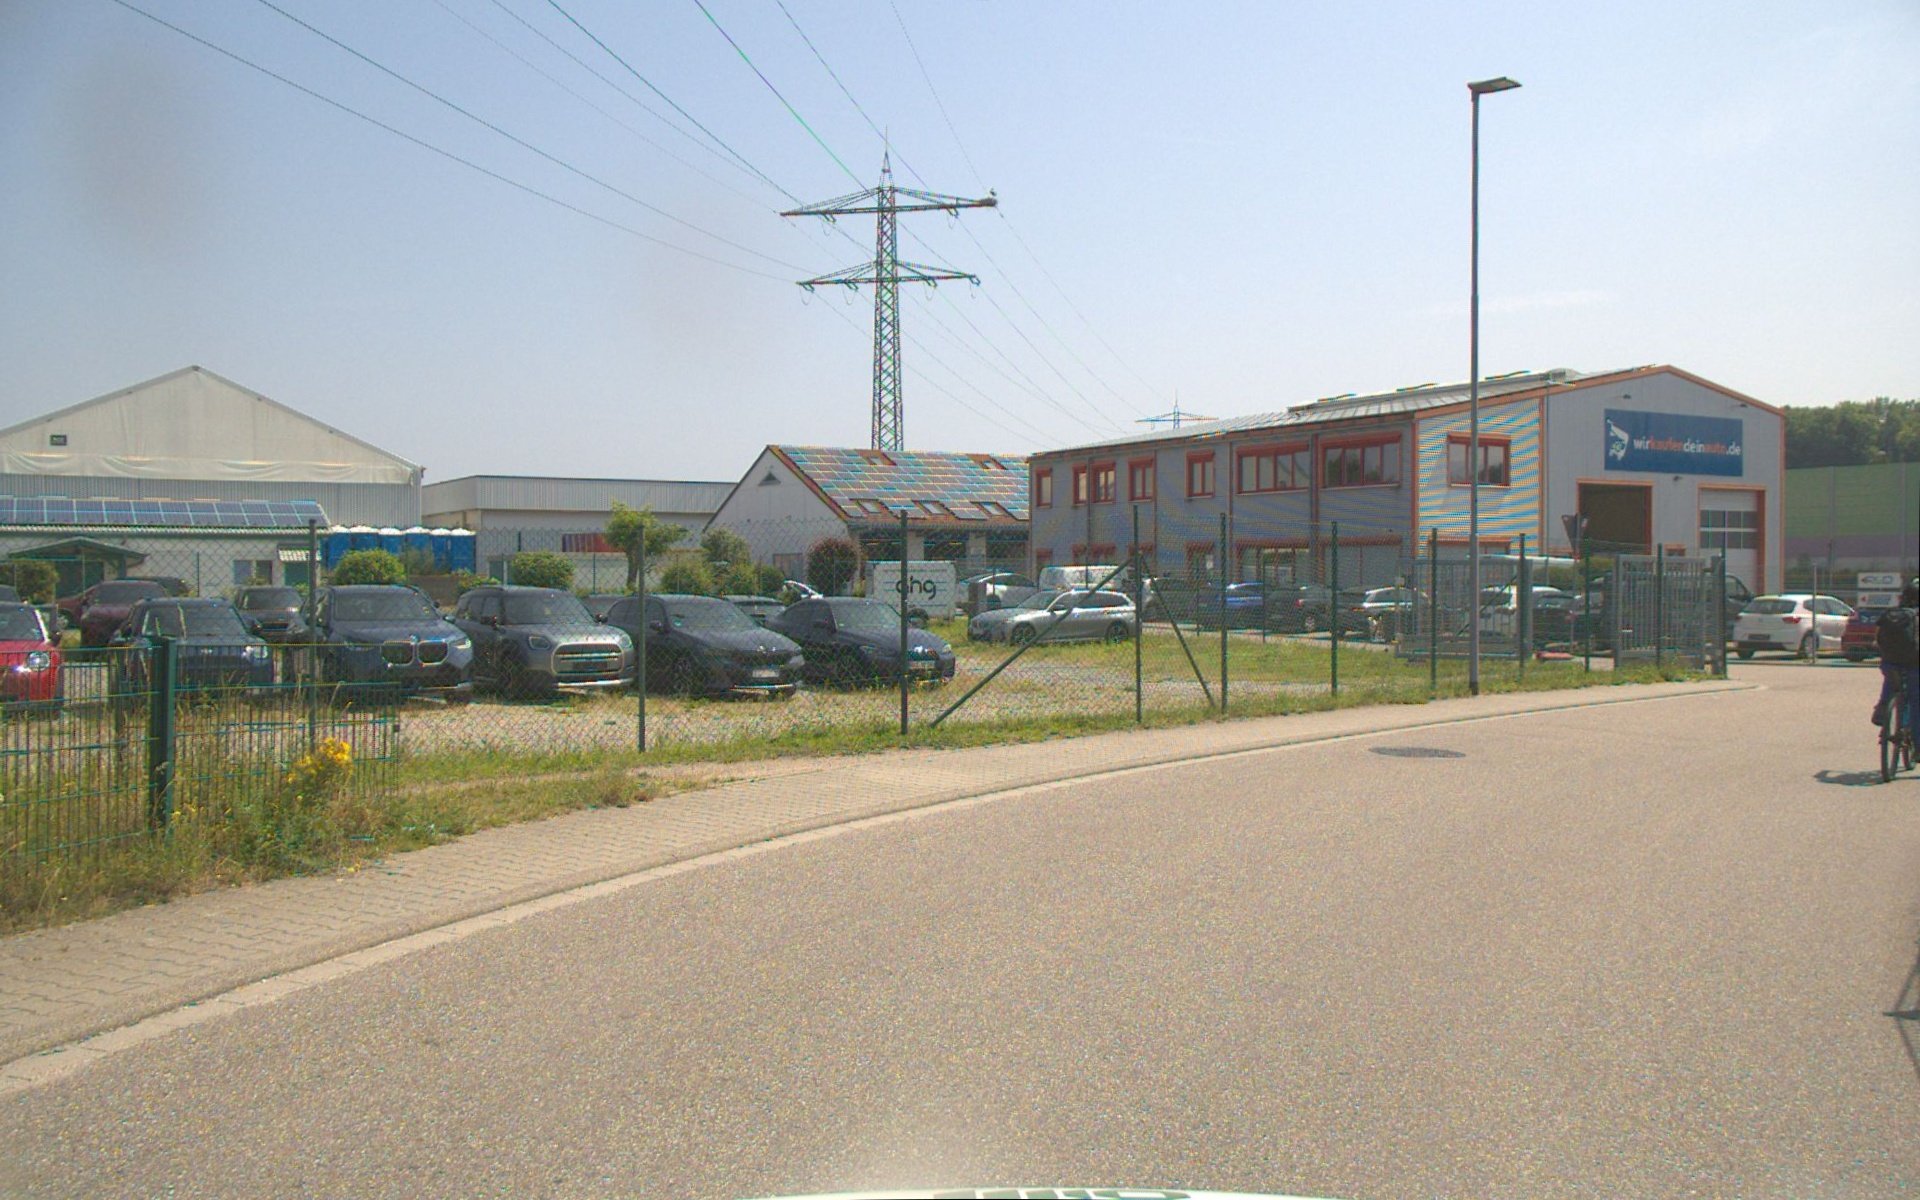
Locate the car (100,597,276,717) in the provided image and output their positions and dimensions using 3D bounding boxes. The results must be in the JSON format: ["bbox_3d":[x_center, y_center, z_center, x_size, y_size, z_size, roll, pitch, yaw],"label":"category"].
[{"bbox_3d":[-10.526,0.702,22.428,1.843,1.458,3.611,0,0,-30],"label":"car"}]

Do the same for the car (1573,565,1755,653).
[{"bbox_3d":[17.325,0.180,40.657,4.458,2.066,1.936,-1,1,-32],"label":"car"}]

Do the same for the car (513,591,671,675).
[{"bbox_3d":[-7.063,0.570,31.491,1.971,1.445,3.963,-1,1,-28],"label":"car"}]

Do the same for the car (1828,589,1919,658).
[{"bbox_3d":[21.160,0.469,36.429,4.059,1.411,1.856,-1,1,-32],"label":"car"}]

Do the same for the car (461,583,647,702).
[{"bbox_3d":[-6.283,0.588,25.332,1.843,1.672,3.597,0,0,-30],"label":"car"}]

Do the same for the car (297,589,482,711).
[{"bbox_3d":[-8.193,0.638,23.578,1.843,1.588,3.659,0,0,-30],"label":"car"}]

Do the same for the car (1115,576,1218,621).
[{"bbox_3d":[7.382,-0.071,59.040,3.556,1.571,1.492,-1,1,-32],"label":"car"}]

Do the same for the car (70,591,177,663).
[{"bbox_3d":[-18.337,0.535,36.157,1.843,1.458,4.557,0,0,-30],"label":"car"}]

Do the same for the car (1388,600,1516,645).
[{"bbox_3d":[13.846,0.615,46.536,3.556,1.171,1.492,-1,1,-32],"label":"car"}]

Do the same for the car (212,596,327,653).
[{"bbox_3d":[-15.835,0.512,37.808,1.843,1.196,4.557,0,0,-30],"label":"car"}]

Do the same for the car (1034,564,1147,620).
[{"bbox_3d":[4.815,-0.311,60.915,3.855,2.013,1.804,-1,1,-32],"label":"car"}]

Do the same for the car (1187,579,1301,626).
[{"bbox_3d":[9.178,0.056,53.353,3.556,1.441,1.492,-1,1,-32],"label":"car"}]

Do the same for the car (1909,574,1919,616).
[{"bbox_3d":[38.189,-0.202,63.040,3.950,1.609,1.977,-1,1,-33],"label":"car"}]

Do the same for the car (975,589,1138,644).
[{"bbox_3d":[2.421,0.377,40.969,4.088,1.283,1.222,-1,1,-32],"label":"car"}]

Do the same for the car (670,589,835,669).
[{"bbox_3d":[-4.245,0.521,33.227,1.971,1.460,4.384,0,1,-26],"label":"car"}]

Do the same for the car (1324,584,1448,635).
[{"bbox_3d":[12.437,0.253,48.256,3.556,1.405,1.492,-1,1,-32],"label":"car"}]

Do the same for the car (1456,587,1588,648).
[{"bbox_3d":[15.235,0.435,44.772,3.556,1.566,1.492,-1,1,-32],"label":"car"}]

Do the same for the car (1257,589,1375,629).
[{"bbox_3d":[11.037,0.265,51.209,3.556,1.171,1.492,-1,1,-32],"label":"car"}]

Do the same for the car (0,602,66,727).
[{"bbox_3d":[-12.551,0.775,21.178,1.843,1.479,3.406,0,0,-30],"label":"car"}]

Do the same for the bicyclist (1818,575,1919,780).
[{"bbox_3d":[7.916,0.628,13.979,1.030,1.646,0.833,1,1,-41],"label":"bicyclist"}]

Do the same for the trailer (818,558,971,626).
[{"bbox_3d":[-2.004,-0.263,50.049,4.375,1.979,1.707,0,1,-16],"label":"trailer"}]

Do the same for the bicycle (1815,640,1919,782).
[{"bbox_3d":[8.017,0.907,14.090,1.885,1.069,0.677,0,1,-42],"label":"bicycle"}]

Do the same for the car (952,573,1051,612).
[{"bbox_3d":[1.688,-0.335,67.142,3.855,1.542,1.492,-1,1,-32],"label":"car"}]

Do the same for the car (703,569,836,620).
[{"bbox_3d":[-6.236,-0.197,54.209,3.943,1.626,1.859,0,1,-29],"label":"car"}]

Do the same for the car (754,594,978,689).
[{"bbox_3d":[-1.704,0.637,28.235,1.975,1.460,4.617,0,0,-30],"label":"car"}]

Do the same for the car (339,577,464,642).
[{"bbox_3d":[-13.520,0.200,39.861,1.975,1.460,4.617,0,0,-30],"label":"car"}]

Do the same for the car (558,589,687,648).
[{"bbox_3d":[-8.911,0.445,43.382,1.975,1.460,4.617,0,0,-30],"label":"car"}]

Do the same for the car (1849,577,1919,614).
[{"bbox_3d":[43.983,-0.248,78.168,3.945,1.686,1.687,-1,1,-30],"label":"car"}]

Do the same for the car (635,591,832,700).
[{"bbox_3d":[-3.678,0.653,26.343,1.843,1.581,3.732,0,0,-30],"label":"car"}]

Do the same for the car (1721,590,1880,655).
[{"bbox_3d":[19.646,0.494,38.631,3.556,1.429,1.733,-1,1,-32],"label":"car"}]
